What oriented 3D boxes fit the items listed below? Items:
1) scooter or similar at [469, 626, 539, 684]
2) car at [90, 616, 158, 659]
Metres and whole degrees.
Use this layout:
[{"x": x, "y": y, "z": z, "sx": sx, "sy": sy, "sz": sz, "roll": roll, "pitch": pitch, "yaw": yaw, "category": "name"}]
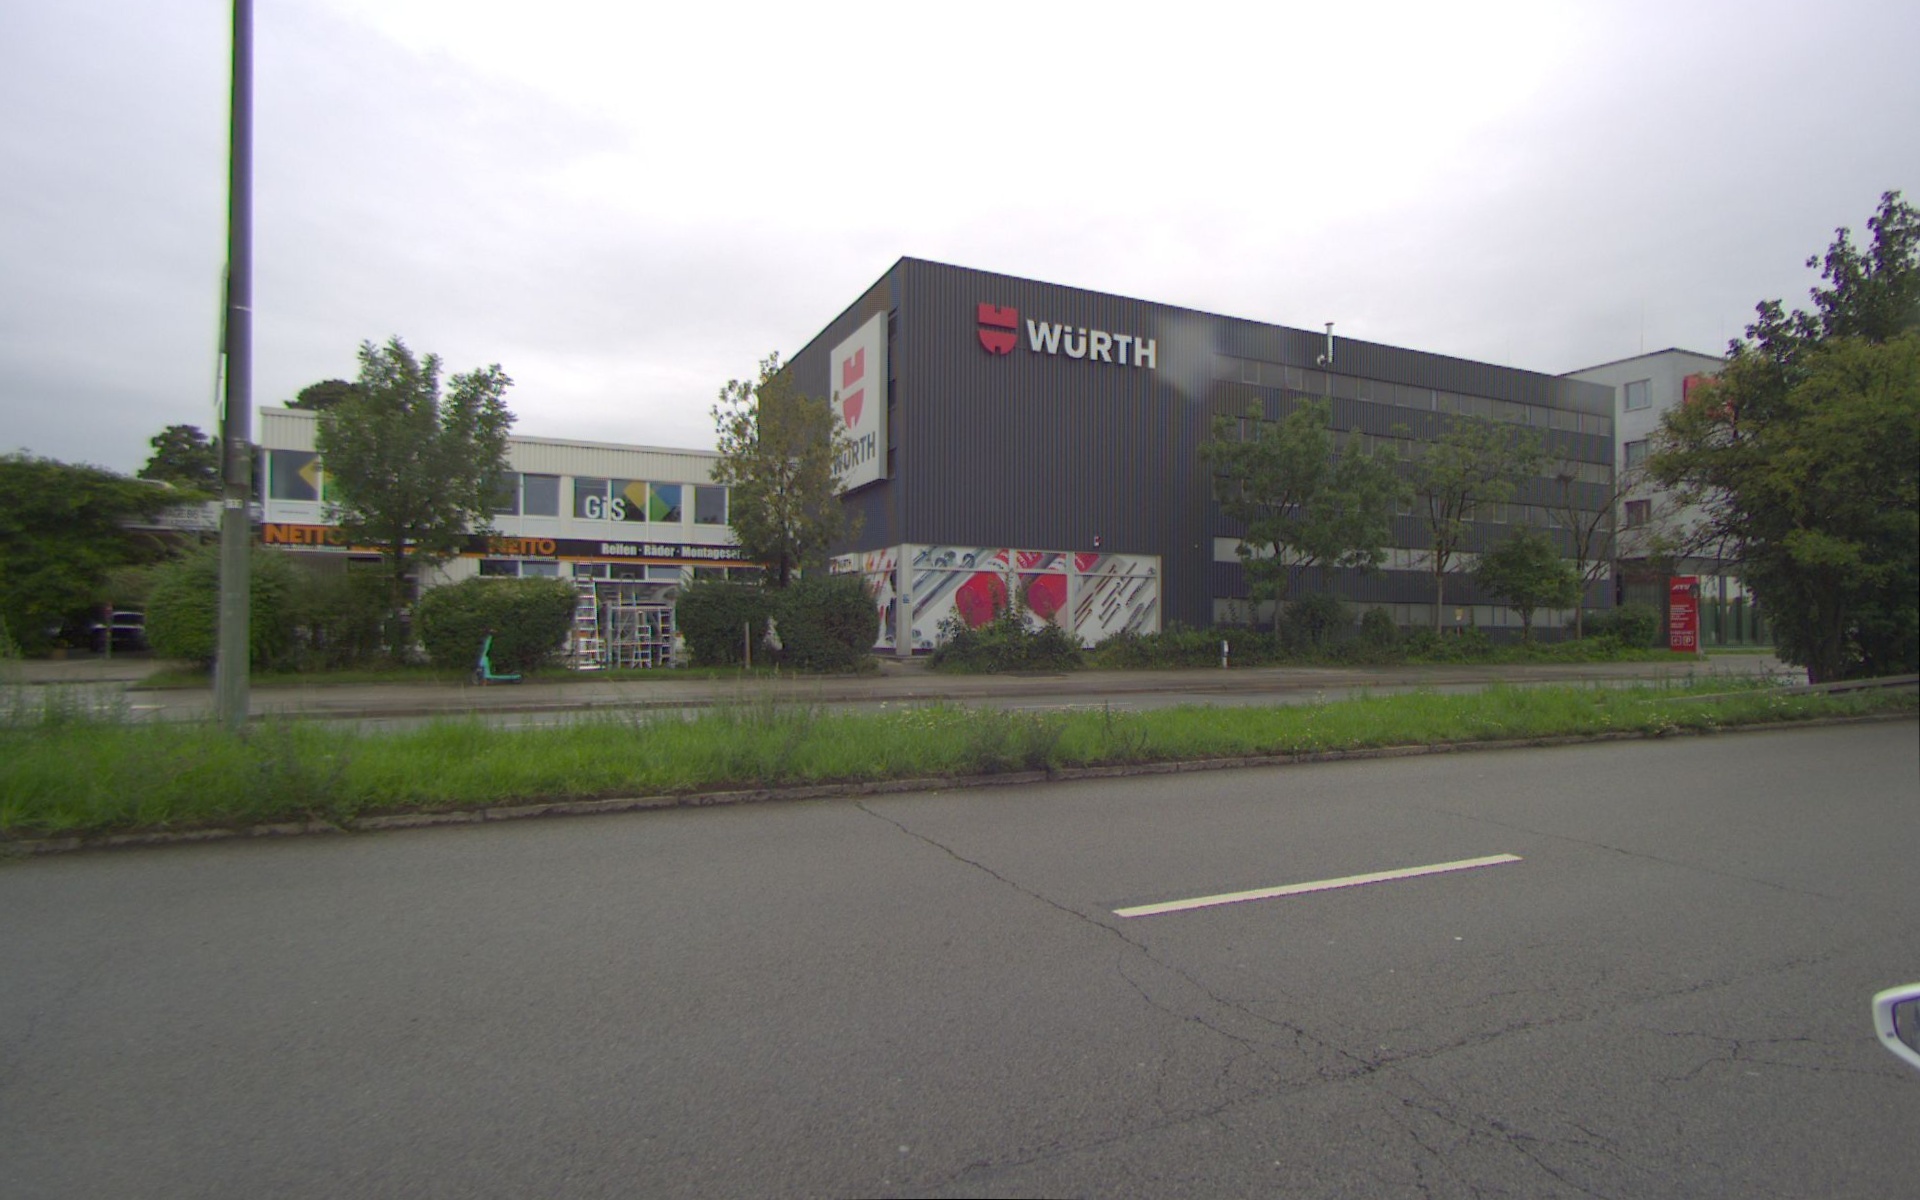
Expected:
[{"x": -10.009, "y": 1.193, "z": 22.063, "sx": 1.370, "sy": 1.243, "sz": 0.443, "roll": 1, "pitch": -1, "yaw": -28, "category": "scooter or similar"}, {"x": -36.586, "y": 1.687, "z": 44.035, "sx": 1.707, "sy": 1.727, "sz": 3.638, "roll": 5, "pitch": -5, "yaw": -33, "category": "car"}]
